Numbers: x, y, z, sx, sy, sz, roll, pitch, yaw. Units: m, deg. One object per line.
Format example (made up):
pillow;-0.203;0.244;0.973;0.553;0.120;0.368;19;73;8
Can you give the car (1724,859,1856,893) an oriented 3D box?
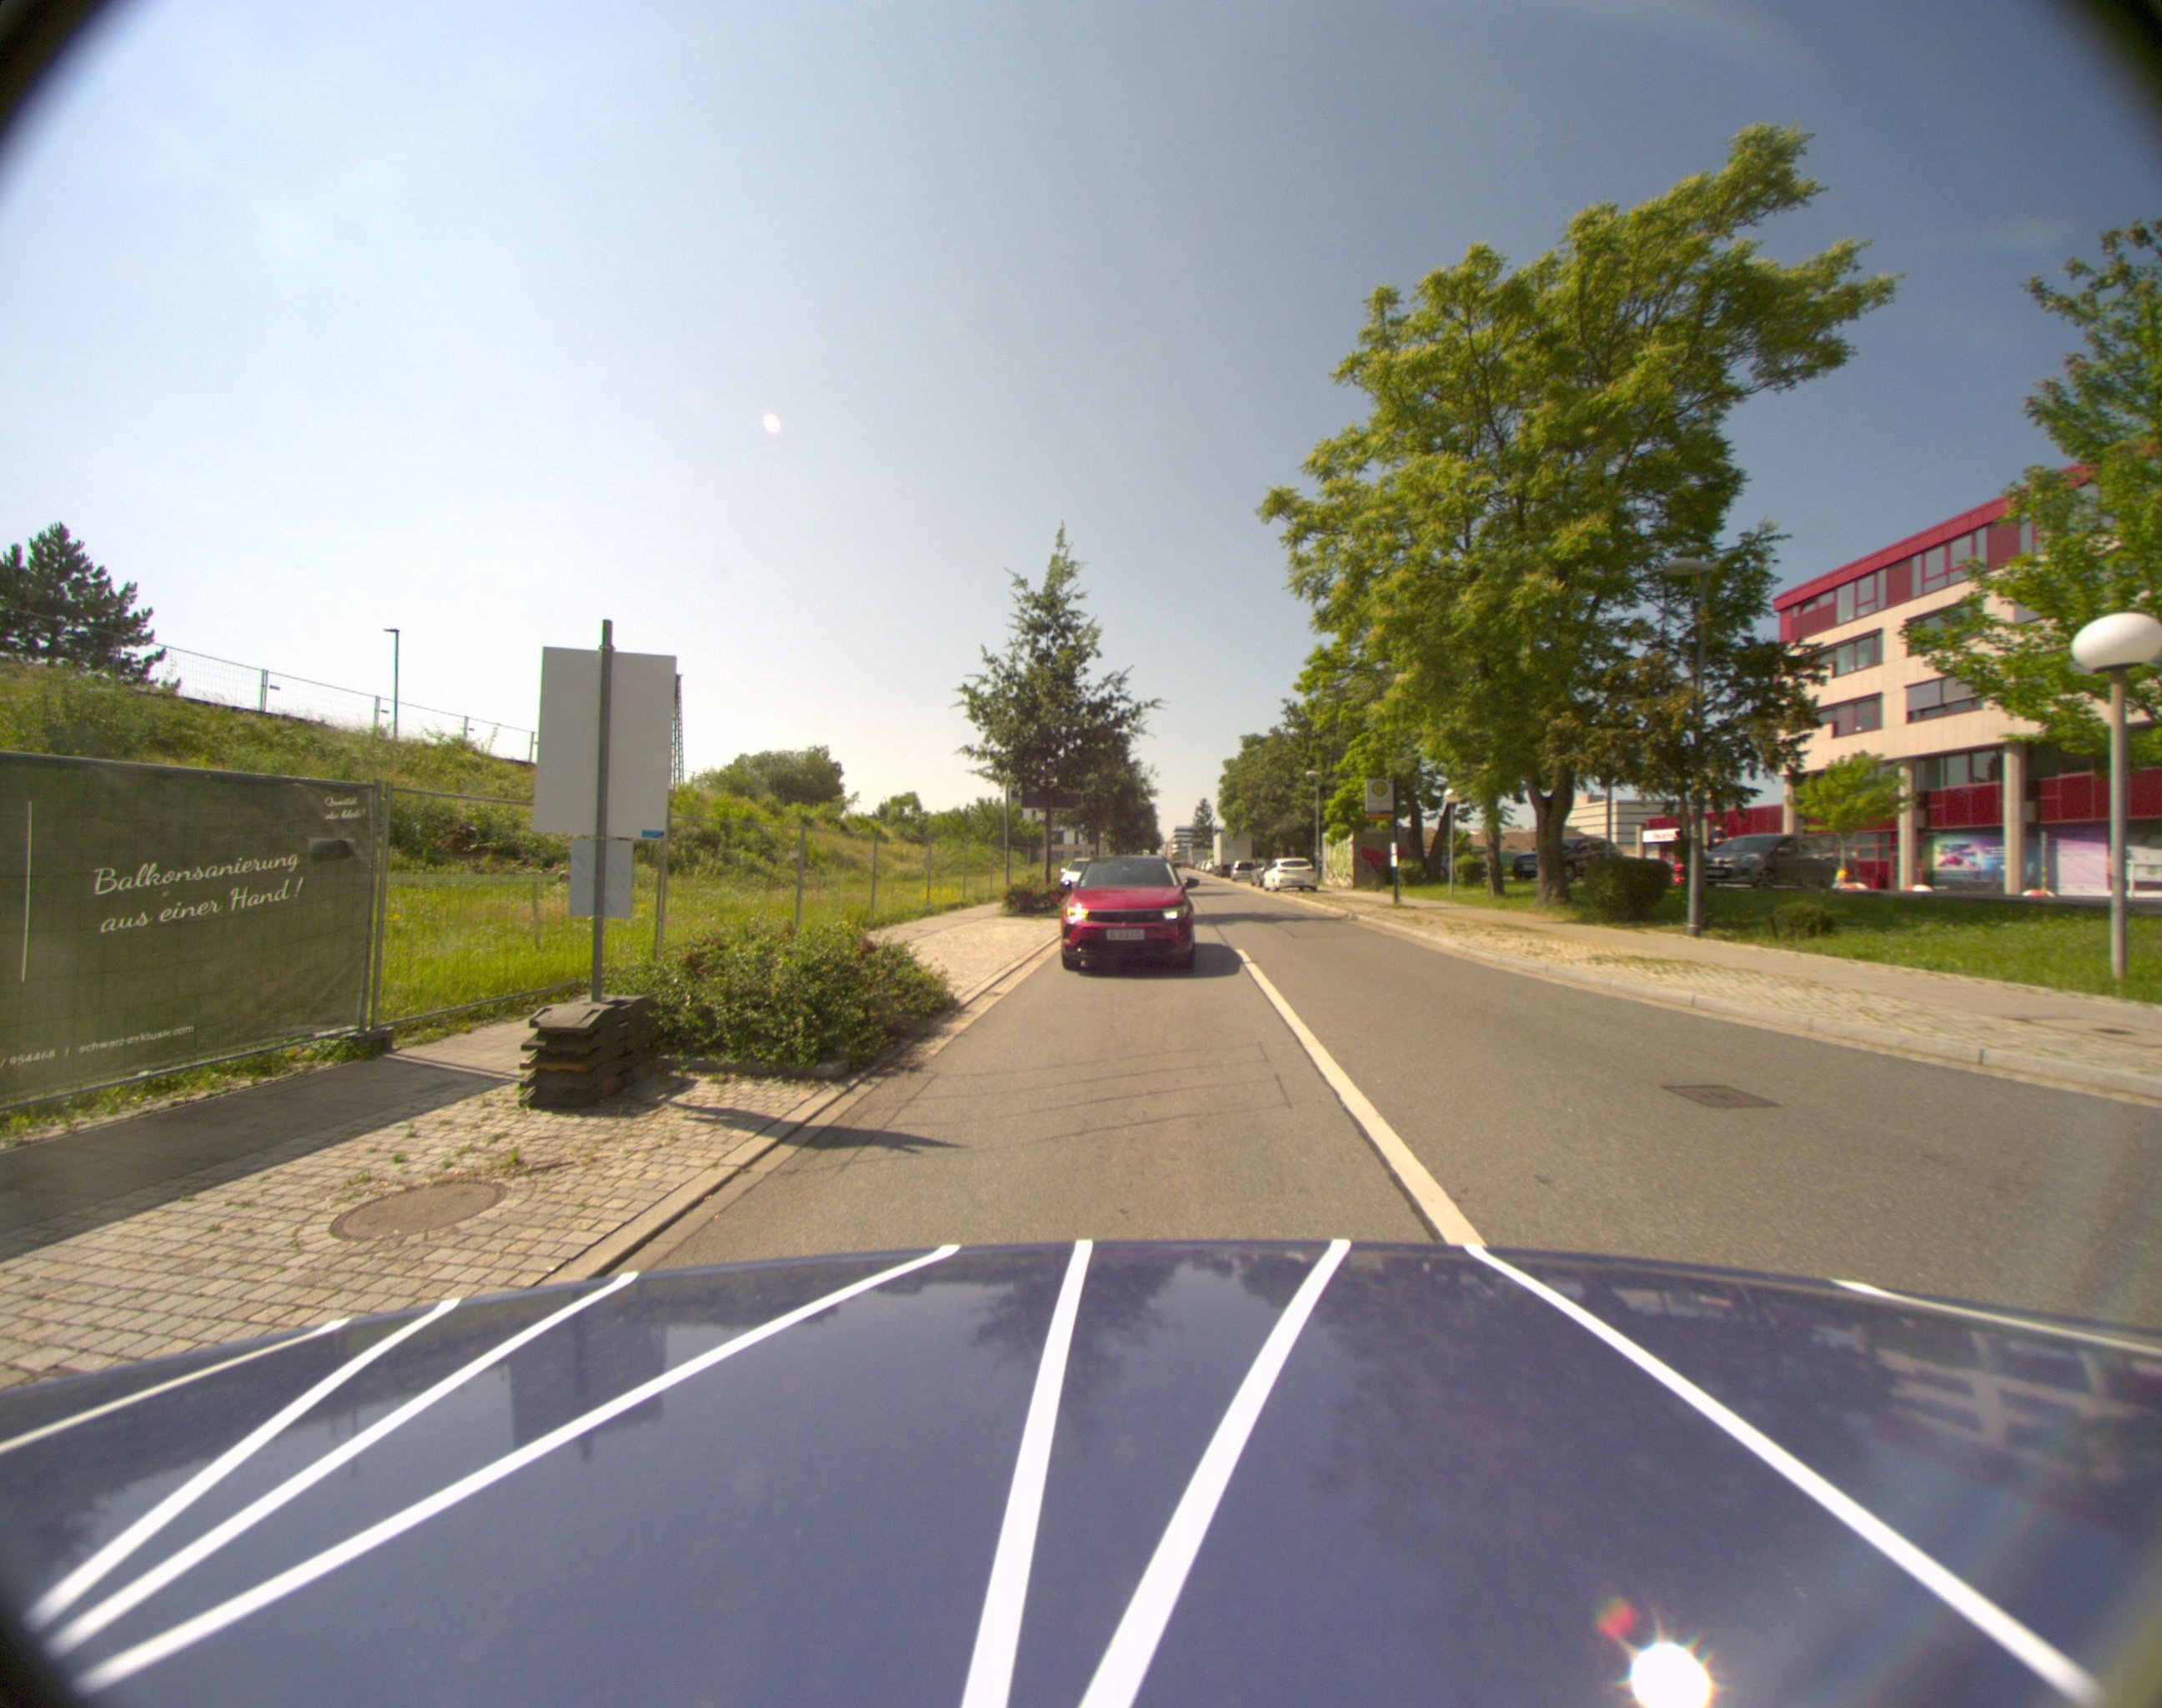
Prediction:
car;32.072;0.963;34.446;1.726;1.443;4.228;0;-1;-41

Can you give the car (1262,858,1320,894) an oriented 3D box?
car;9.265;0.938;33.845;1.765;1.484;4.002;-1;0;5

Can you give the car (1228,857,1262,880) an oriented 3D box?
car;11.347;1.011;52.826;1.814;1.506;4.002;-1;-1;5

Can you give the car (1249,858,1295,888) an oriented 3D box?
car;10.274;0.989;41.104;1.814;1.506;4.002;-1;-1;5

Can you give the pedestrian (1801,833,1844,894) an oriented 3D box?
pedestrian;18.776;0.232;19.246;0.566;1.518;0.754;0;0;-42

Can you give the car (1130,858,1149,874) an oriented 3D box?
car;6.159;1.225;79.794;1.846;1.606;4.002;1;-1;6

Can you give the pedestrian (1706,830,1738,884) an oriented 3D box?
pedestrian;18.447;0.091;21.885;0.563;1.518;0.758;0;0;28

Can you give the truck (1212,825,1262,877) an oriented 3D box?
truck;13.269;-0.193;65.551;3.352;4.118;9.283;-1;-1;7

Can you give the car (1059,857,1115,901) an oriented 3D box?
car;0.337;0.975;31.441;1.846;1.606;4.373;3;0;6

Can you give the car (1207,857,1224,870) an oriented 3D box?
car;15.903;1.093;89.967;1.813;1.506;4.003;-1;-1;7

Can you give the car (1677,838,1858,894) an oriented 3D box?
car;18.398;0.295;20.394;3.992;1.330;1.716;-1;0;-15

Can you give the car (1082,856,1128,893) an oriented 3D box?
car;1.189;0.939;35.733;1.846;1.606;4.002;2;0;6

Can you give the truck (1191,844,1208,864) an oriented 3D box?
truck;20.129;0.013;128.978;2.700;3.300;7.348;0;0;9

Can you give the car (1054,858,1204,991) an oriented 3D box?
car;0.735;0.898;11.357;1.821;1.594;4.309;0;-1;4

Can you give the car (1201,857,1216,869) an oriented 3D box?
car;16.958;1.196;100.980;1.813;1.506;4.003;-1;-1;7

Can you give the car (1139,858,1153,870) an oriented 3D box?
car;9.187;1.337;106.625;1.846;1.606;4.002;1;-1;6

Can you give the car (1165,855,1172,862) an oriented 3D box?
car;23.811;1.313;206.550;1.763;1.783;4.003;0;0;9

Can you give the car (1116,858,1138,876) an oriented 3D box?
car;4.312;1.206;70.919;1.846;1.606;4.002;1;-1;6

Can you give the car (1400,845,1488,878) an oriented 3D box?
car;21.147;0.458;44.262;4.723;1.793;1.996;0;-1;-24

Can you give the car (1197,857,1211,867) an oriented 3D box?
car;18.332;1.206;113.317;1.813;1.506;4.003;-1;-1;7

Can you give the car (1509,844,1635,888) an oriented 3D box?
car;18.782;0.428;29.008;4.823;1.484;1.849;-1;0;-27

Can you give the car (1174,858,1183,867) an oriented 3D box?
car;20.379;1.791;158.777;1.790;1.783;4.003;0;0;7
